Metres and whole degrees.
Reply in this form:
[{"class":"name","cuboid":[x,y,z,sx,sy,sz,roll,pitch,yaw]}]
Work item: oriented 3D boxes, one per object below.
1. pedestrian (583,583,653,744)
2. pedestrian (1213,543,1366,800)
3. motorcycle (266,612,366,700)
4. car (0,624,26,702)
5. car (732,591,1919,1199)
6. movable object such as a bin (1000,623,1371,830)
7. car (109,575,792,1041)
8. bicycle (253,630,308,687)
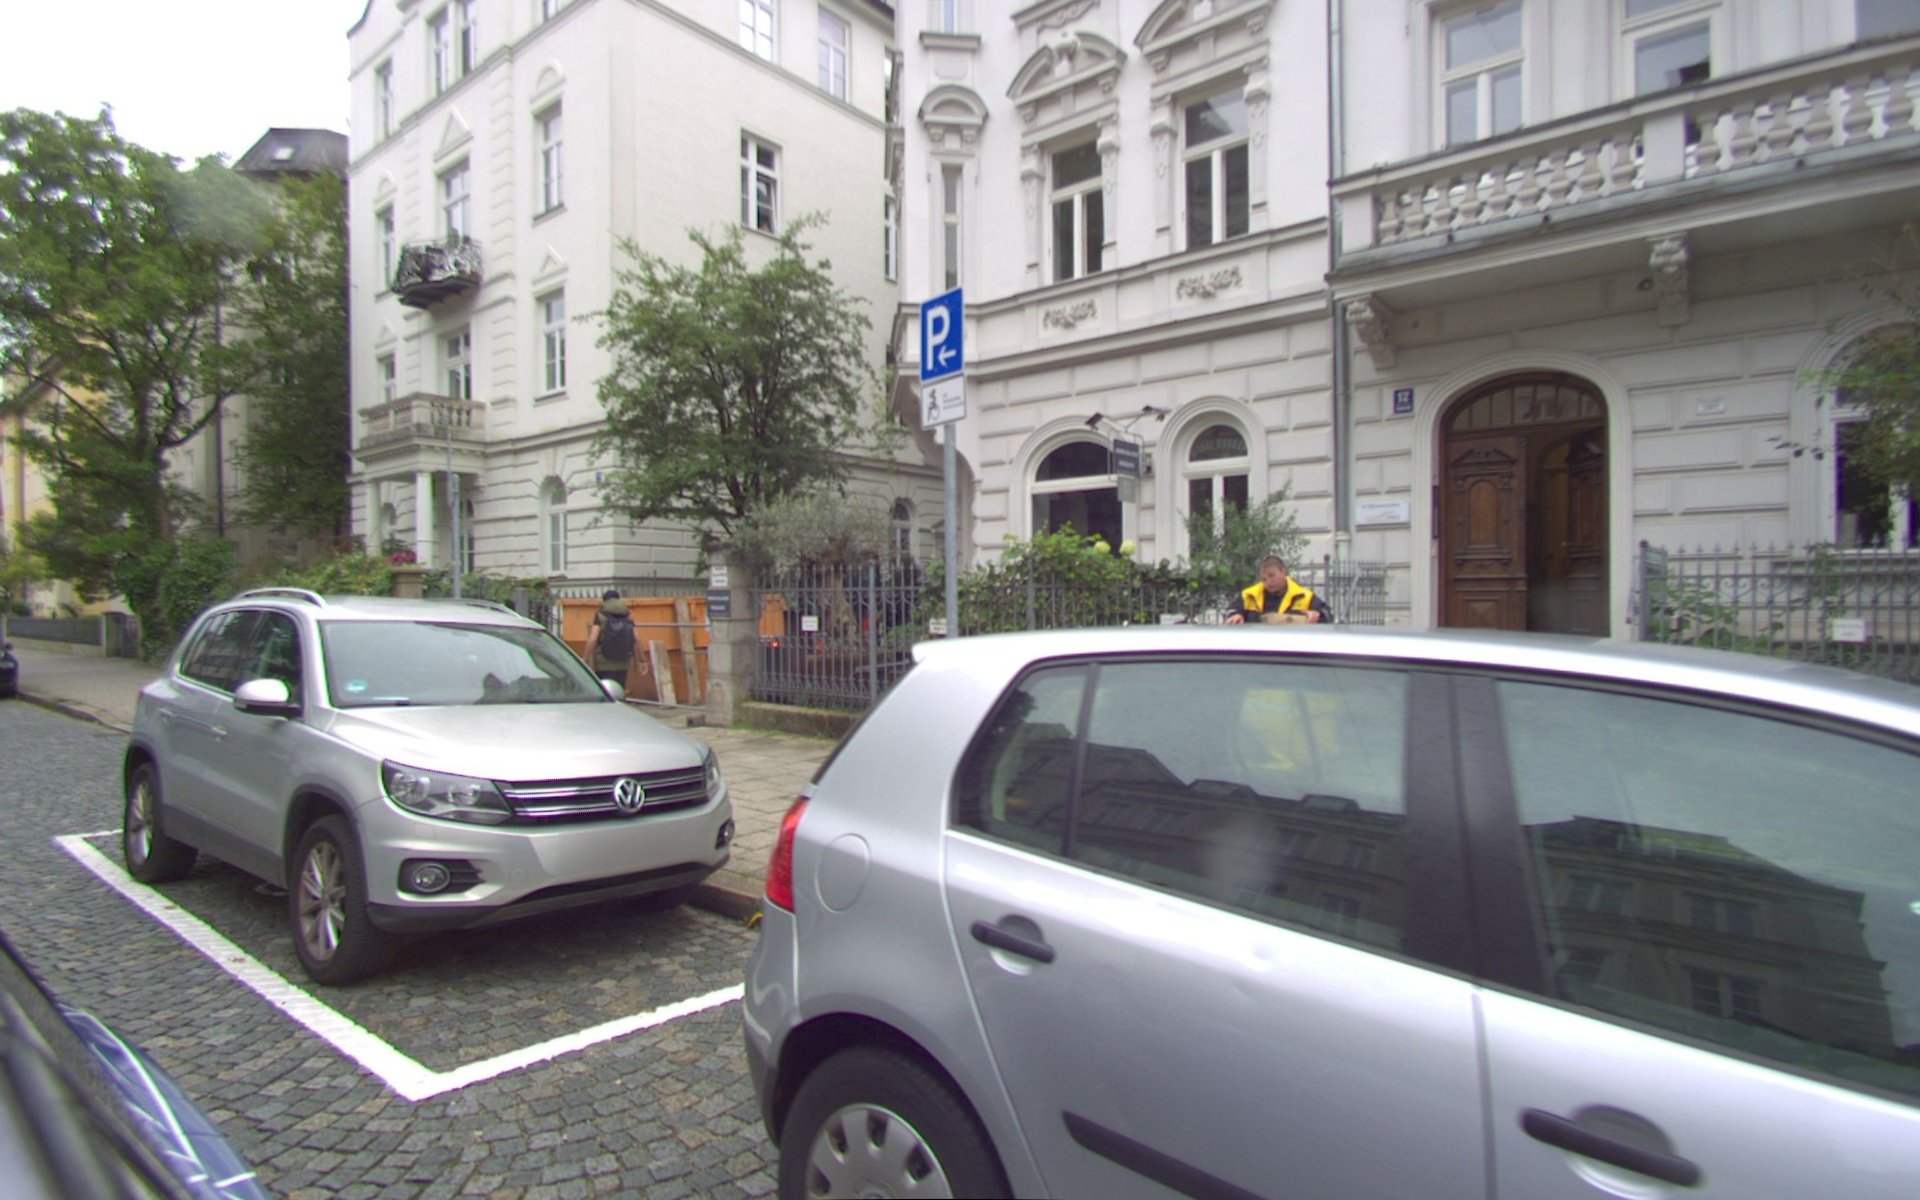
[{"class":"pedestrian","cuboid":[-3.622,0.644,10.741,0.655,1.640,0.671,-1,0,-18]},{"class":"pedestrian","cuboid":[2.284,0.467,7.044,0.569,1.659,0.822,0,-1,-44]},{"class":"motorcycle","cuboid":[-11.392,0.953,17.873,2.242,1.439,0.729,-1,1,37]},{"class":"car","cuboid":[-20.044,1.161,19.828,4.804,1.430,1.862,-1,-4,39]},{"class":"car","cuboid":[1.506,0.697,1.624,3.811,1.404,1.616,-1,0,38]},{"class":"movable object such as a bin","cuboid":[1.463,0.776,7.168,0.635,1.174,2.655,-1,0,-44]},{"class":"car","cuboid":[-2.901,0.710,5.365,4.063,1.584,1.673,-1,0,38]},{"class":"bicycle","cuboid":[-13.490,1.145,20.077,1.741,1.058,0.353,-1,0,37]}]
